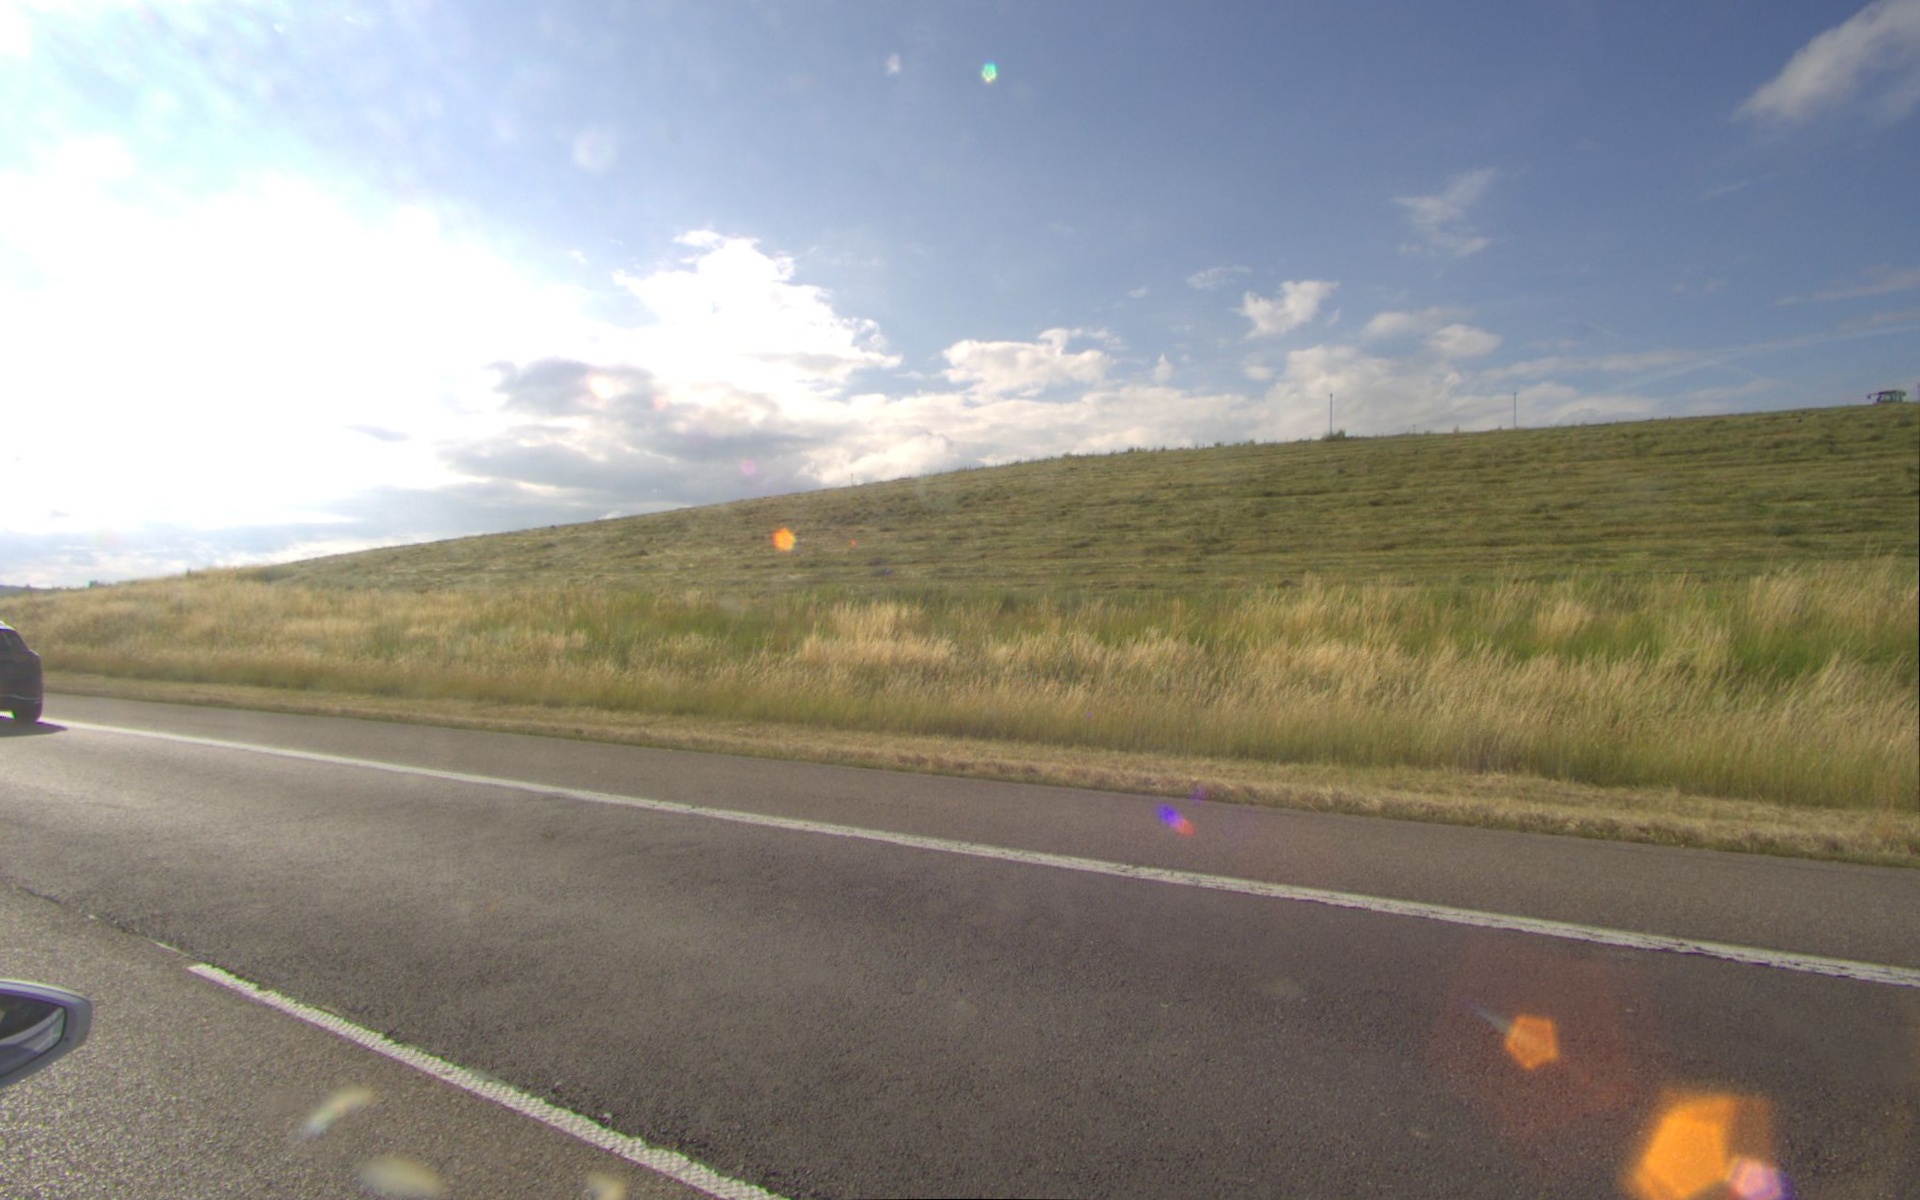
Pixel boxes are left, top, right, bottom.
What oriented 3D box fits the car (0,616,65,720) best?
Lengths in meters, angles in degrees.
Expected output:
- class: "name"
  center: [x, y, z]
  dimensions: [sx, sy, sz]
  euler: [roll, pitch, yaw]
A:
- class: "car"
  center: [-16.657, 1.091, 16.579]
  dimensions: [4.178, 1.621, 1.817]
  euler: [-1, -3, 35]
